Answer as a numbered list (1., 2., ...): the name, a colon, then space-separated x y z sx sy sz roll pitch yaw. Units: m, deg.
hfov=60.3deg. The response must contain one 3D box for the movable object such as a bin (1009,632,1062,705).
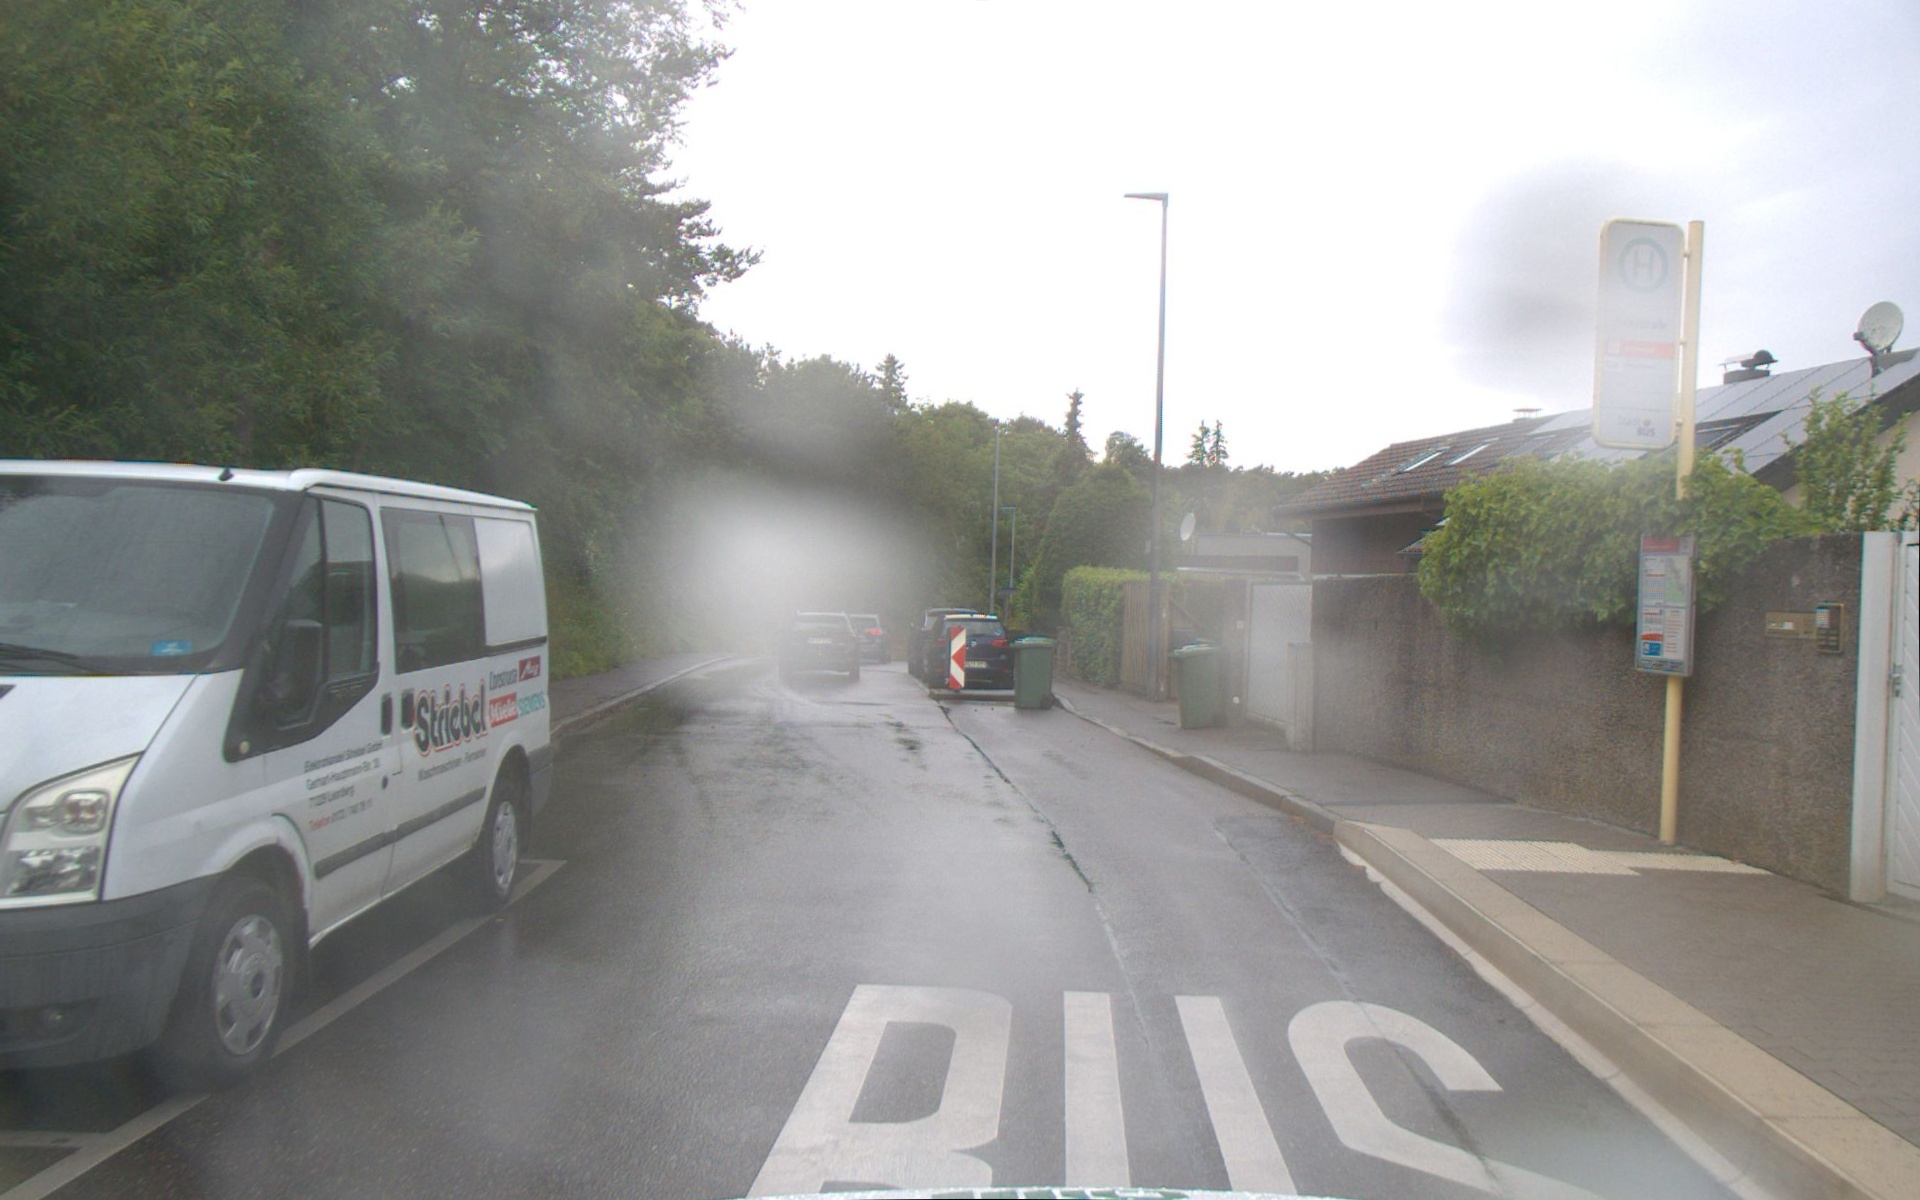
1. movable object such as a bin: 1.195 1.088 26.337 0.702 1.114 0.655 2 0 -9

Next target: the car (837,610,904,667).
1. car: -2.797 1.168 51.990 1.954 1.633 4.406 2 0 -3

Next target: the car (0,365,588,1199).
1. car: -3.061 0.428 6.523 2.068 2.009 5.172 1 0 -1

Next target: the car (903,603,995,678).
1. car: -0.314 0.904 39.190 1.838 1.620 4.475 1 0 -4

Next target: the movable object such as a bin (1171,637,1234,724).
1. movable object such as a bin: 3.195 1.060 21.856 0.724 1.107 0.600 -1 0 -2

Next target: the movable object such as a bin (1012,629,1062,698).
1. movable object such as a bin: 1.273 1.055 27.494 0.715 1.097 0.660 2 0 -6

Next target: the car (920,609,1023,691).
1. car: 0.166 0.971 33.996 1.721 1.487 4.297 2 0 -4

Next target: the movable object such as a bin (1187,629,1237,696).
1. movable object such as a bin: 4.492 1.108 29.454 0.732 1.123 0.820 4 -1 15

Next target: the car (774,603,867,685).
1. car: -3.011 1.010 36.116 1.832 1.539 4.088 3 -4 -4
